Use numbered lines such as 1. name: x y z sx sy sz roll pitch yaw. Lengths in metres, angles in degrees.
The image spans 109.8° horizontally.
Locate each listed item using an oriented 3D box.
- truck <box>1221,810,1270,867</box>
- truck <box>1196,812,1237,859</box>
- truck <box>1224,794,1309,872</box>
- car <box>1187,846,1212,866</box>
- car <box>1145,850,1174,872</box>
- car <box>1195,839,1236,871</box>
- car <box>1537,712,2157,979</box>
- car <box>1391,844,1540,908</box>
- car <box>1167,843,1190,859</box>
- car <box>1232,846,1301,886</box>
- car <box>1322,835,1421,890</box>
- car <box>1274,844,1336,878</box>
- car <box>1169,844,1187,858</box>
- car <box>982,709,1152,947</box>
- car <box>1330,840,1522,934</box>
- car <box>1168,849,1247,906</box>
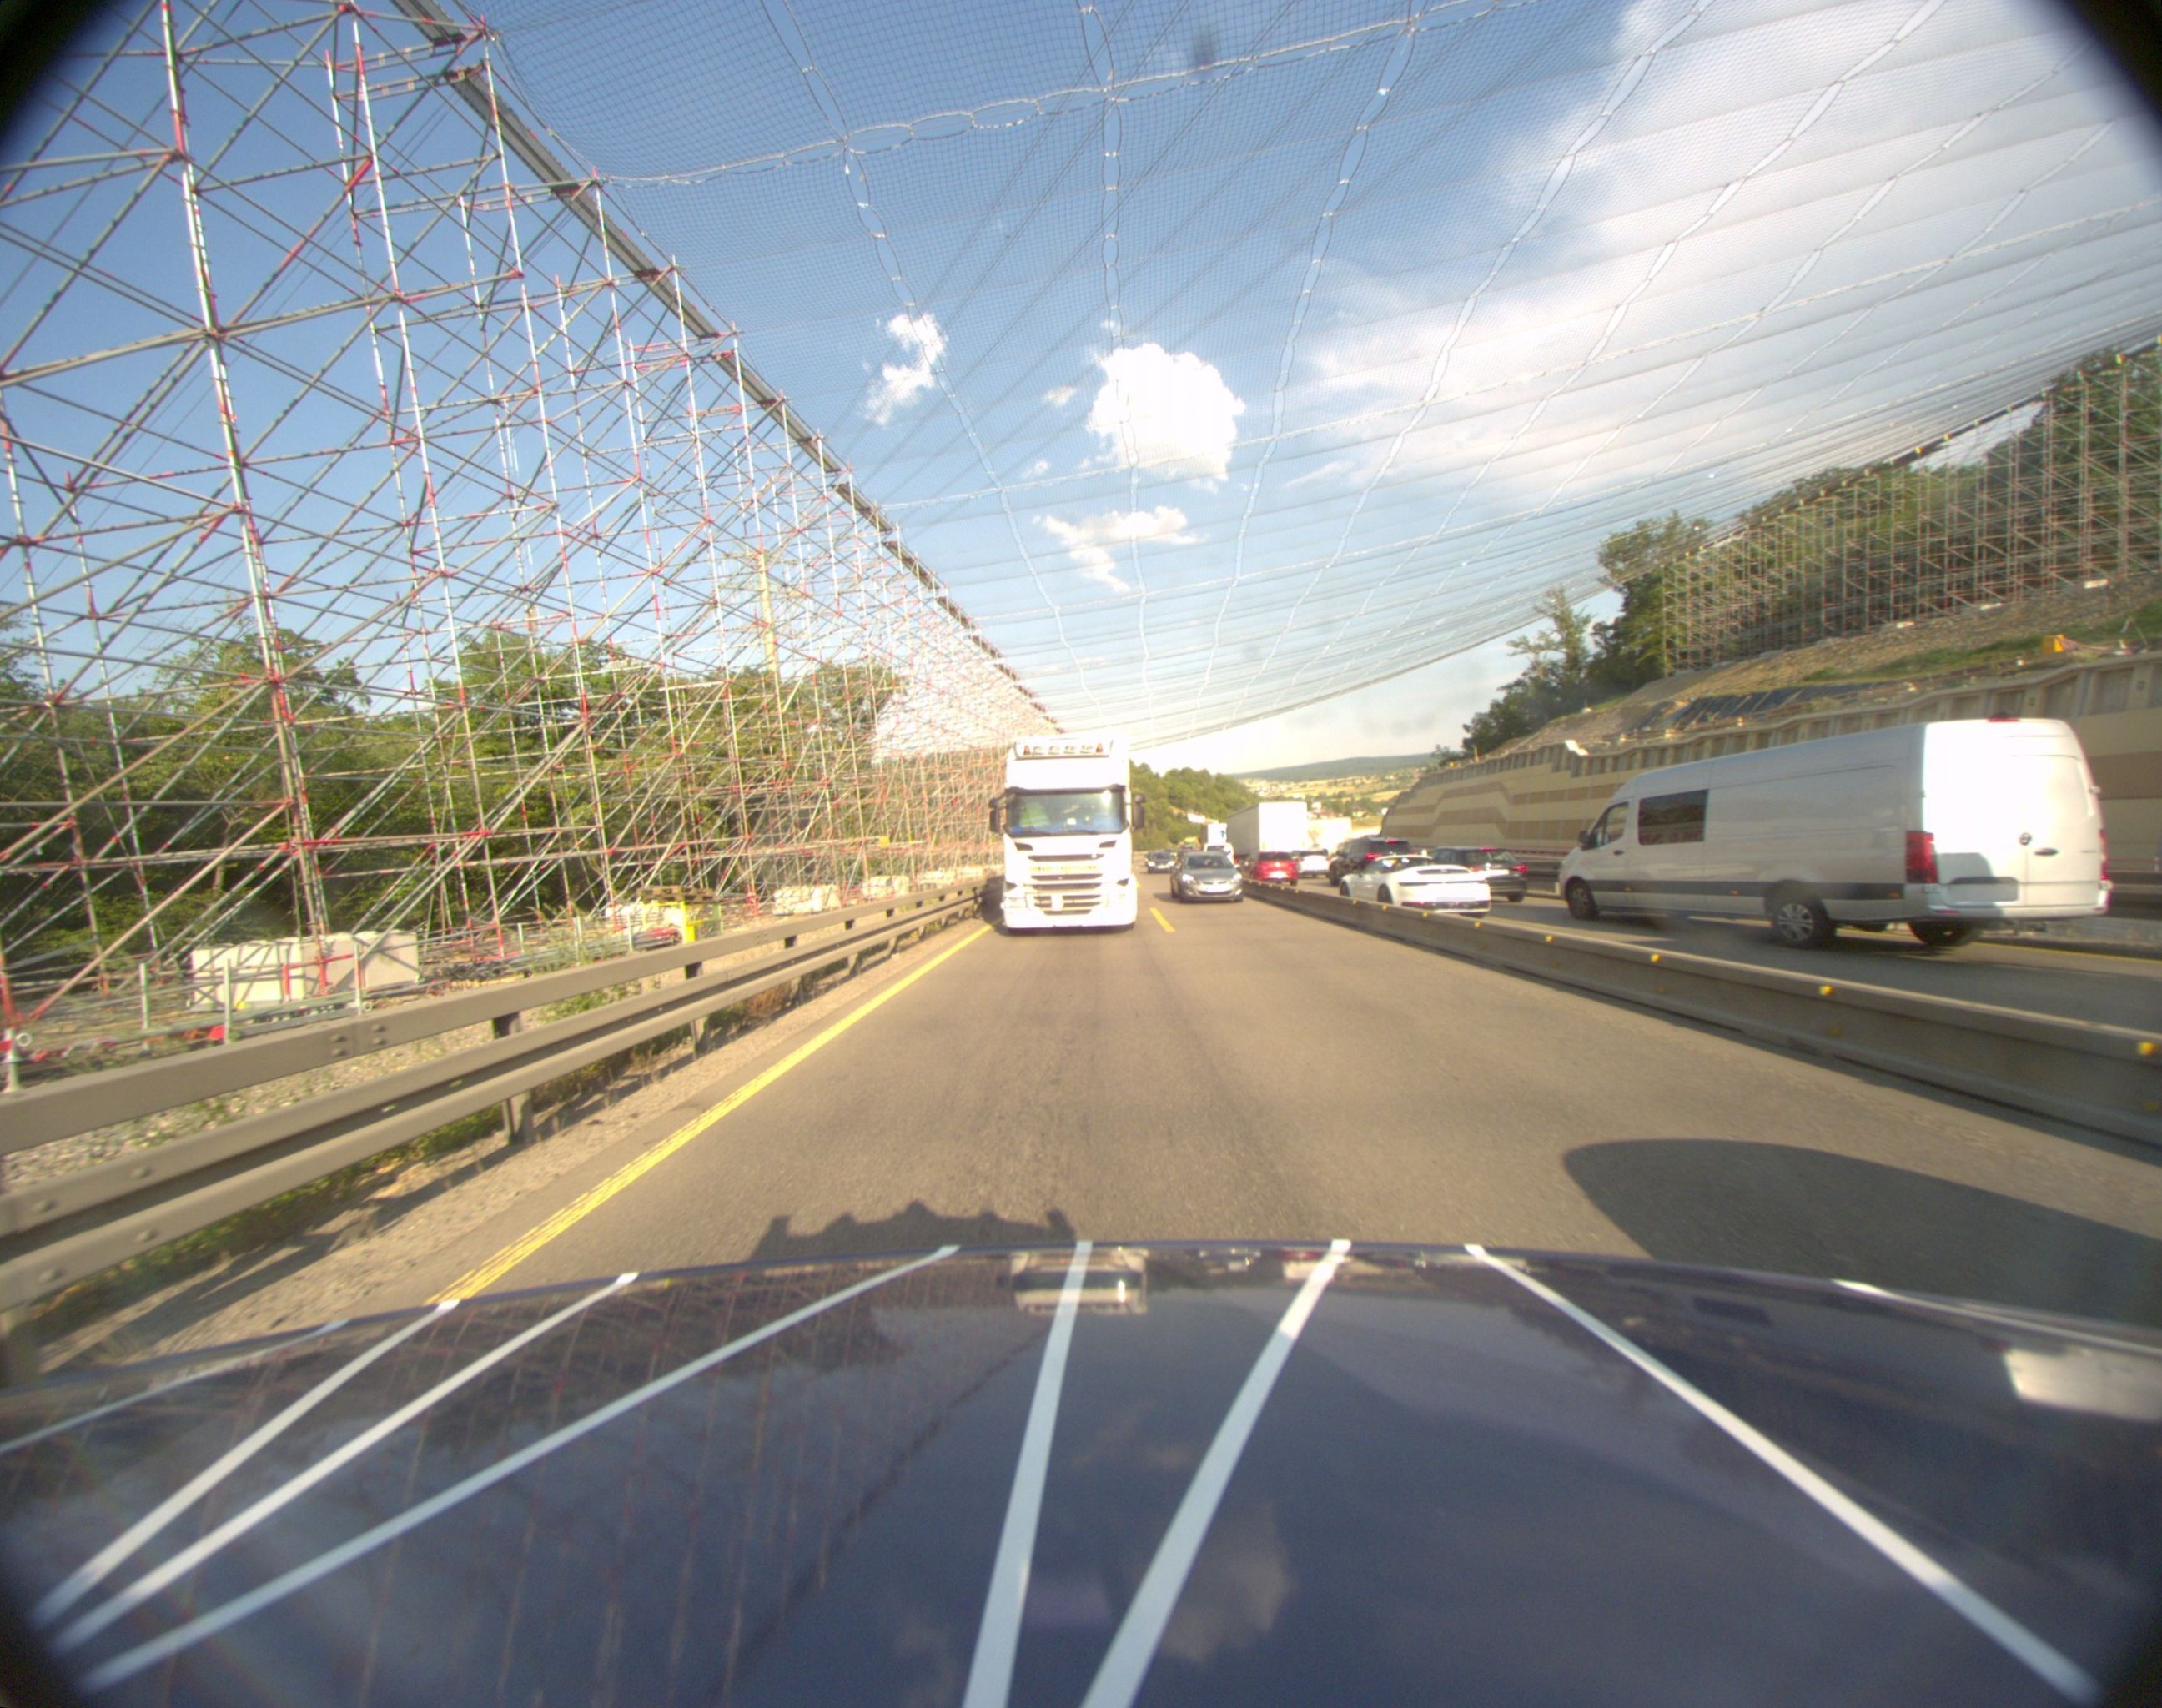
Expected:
1. truck: 12.079 -1.107 56.248 2.521 3.885 6.049 -2 1 4
2. truck: 14.867 -1.977 84.539 2.993 4.532 17.412 -2 1 6
3. truck: 11.685 -1.262 49.468 2.727 4.202 14.169 -2 1 4
4. car: 9.972 0.121 64.123 1.586 1.543 4.218 -2 1 2
5. car: 5.177 0.442 50.703 1.764 1.376 3.823 -2 1 4
6. car: 8.490 0.028 48.366 1.812 1.858 5.282 -2 1 2
7. car: 10.101 -0.125 11.445 2.247 2.697 7.081 -2 1 1
8. car: 9.815 0.490 19.800 1.796 1.429 4.381 -2 1 3
9. car: 10.140 -0.299 79.228 1.939 1.525 4.646 -2 1 3
10. car: 7.446 0.426 30.942 1.812 1.411 4.518 -2 1 2
11. car: 10.312 0.252 27.416 1.828 1.717 4.937 -2 1 2
12. car: 10.962 0.292 37.488 1.796 1.531 4.909 -2 1 3
13. car: 11.496 -0.365 90.677 1.938 1.510 4.979 -2 1 6
14. car: -0.137 -0.503 17.554 2.858 4.092 8.280 -2 1 2
15. car: 6.689 0.548 15.318 1.813 1.559 4.365 -2 1 -1
16. car: 3.653 0.624 22.631 1.760 1.464 4.353 -2 1 2
